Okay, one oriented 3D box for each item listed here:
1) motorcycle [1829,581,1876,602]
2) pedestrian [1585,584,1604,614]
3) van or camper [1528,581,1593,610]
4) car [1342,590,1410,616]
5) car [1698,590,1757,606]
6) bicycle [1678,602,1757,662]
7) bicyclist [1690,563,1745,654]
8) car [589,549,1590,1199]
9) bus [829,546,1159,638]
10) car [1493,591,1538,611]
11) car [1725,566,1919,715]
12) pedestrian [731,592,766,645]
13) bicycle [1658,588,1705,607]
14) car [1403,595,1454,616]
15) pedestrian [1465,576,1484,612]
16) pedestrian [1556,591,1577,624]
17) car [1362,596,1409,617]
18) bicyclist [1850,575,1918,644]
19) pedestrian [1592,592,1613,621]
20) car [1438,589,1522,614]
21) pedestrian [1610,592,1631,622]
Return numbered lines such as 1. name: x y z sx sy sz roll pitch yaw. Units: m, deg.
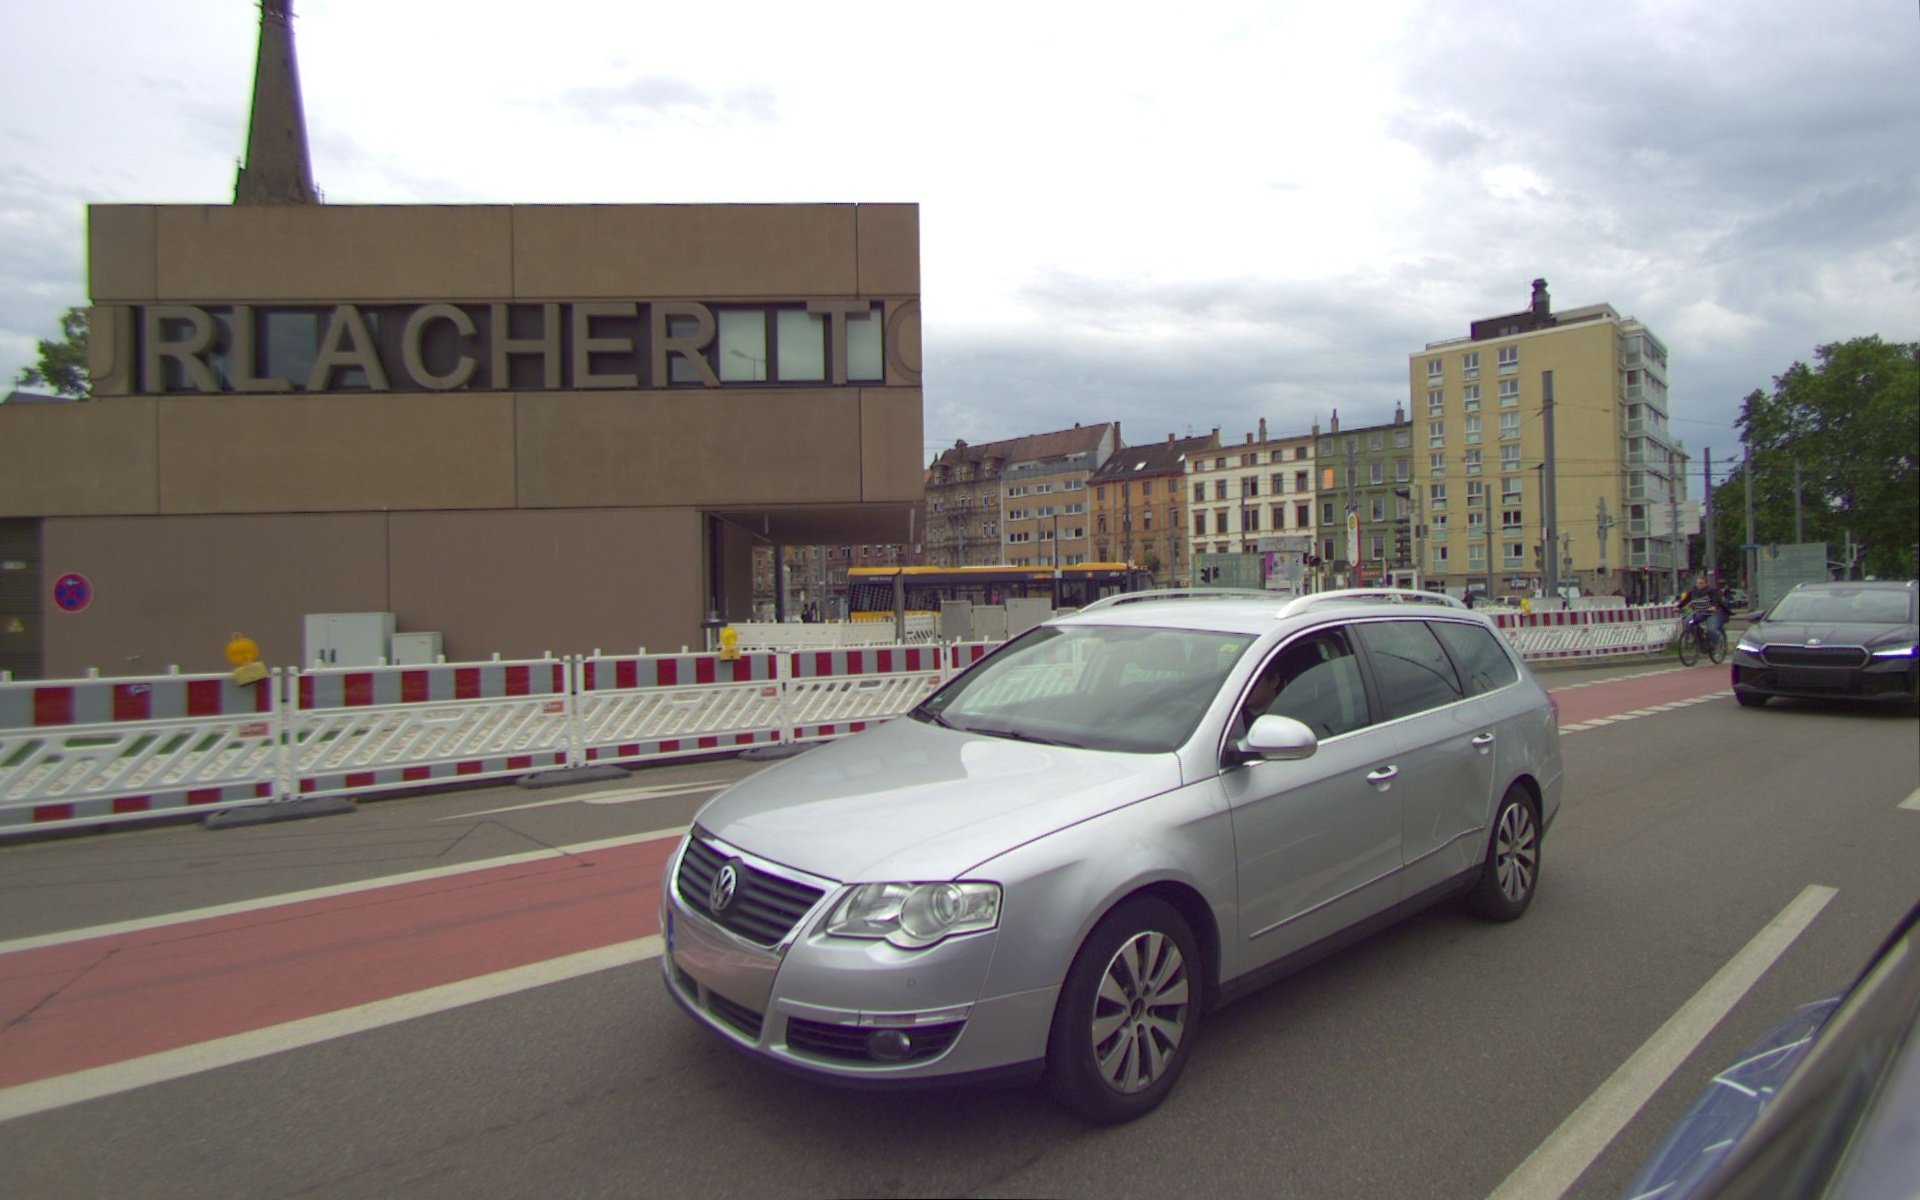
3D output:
1. motorcycle: 60.822 -0.559 68.988 2.278 1.383 1.033 0 0 36
2. pedestrian: 38.089 -0.087 60.742 0.779 1.779 1.041 -1 0 23
3. van or camper: 44.287 -0.346 74.807 2.135 2.004 5.454 -1 0 8
4. car: 29.052 0.215 70.741 1.967 1.772 3.990 -1 0 -43
5. car: 65.562 -0.187 86.506 3.975 1.352 1.813 0 0 36
6. bicycle: 14.662 0.603 19.561 2.086 1.068 0.626 -1 0 -37
7. bicyclist: 14.601 0.158 19.510 0.791 1.712 0.617 0 -1 -36
8. car: 0.982 0.610 4.361 4.548 1.501 1.723 -1 1 -42
9. bus: 1.295 -0.313 40.927 12.792 3.309 3.026 -1 -1 0
10. car: 42.190 0.104 76.941 1.707 1.436 3.729 -2 -2 8
11. car: 12.001 0.425 13.411 4.432 1.679 1.908 -1 0 -38
12. pedestrian: -7.562 0.656 36.214 1.002 1.831 0.826 -1 -1 3
13. bicycle: 54.436 -0.206 76.383 0.889 1.395 2.777 0 0 -43
14. car: 36.957 0.429 79.952 1.853 1.602 3.744 -1 0 -10
15. pedestrian: 27.837 -0.325 54.748 0.775 1.936 0.898 -1 -1 21
16. pedestrian: 31.710 0.389 52.933 0.775 1.664 0.898 -1 -1 21
17. car: 34.501 0.517 82.133 1.700 1.607 3.744 -1 0 -10
18. bicyclist: 22.346 0.229 24.484 0.913 1.639 0.792 -1 -2 -18
19. pedestrian: 35.866 0.366 56.507 0.759 1.632 0.945 -1 -1 21
20. car: 33.457 0.085 65.185 1.967 1.505 4.435 -1 0 -43
21. pedestrian: 36.453 0.382 55.871 0.775 1.622 0.890 -1 -1 21
